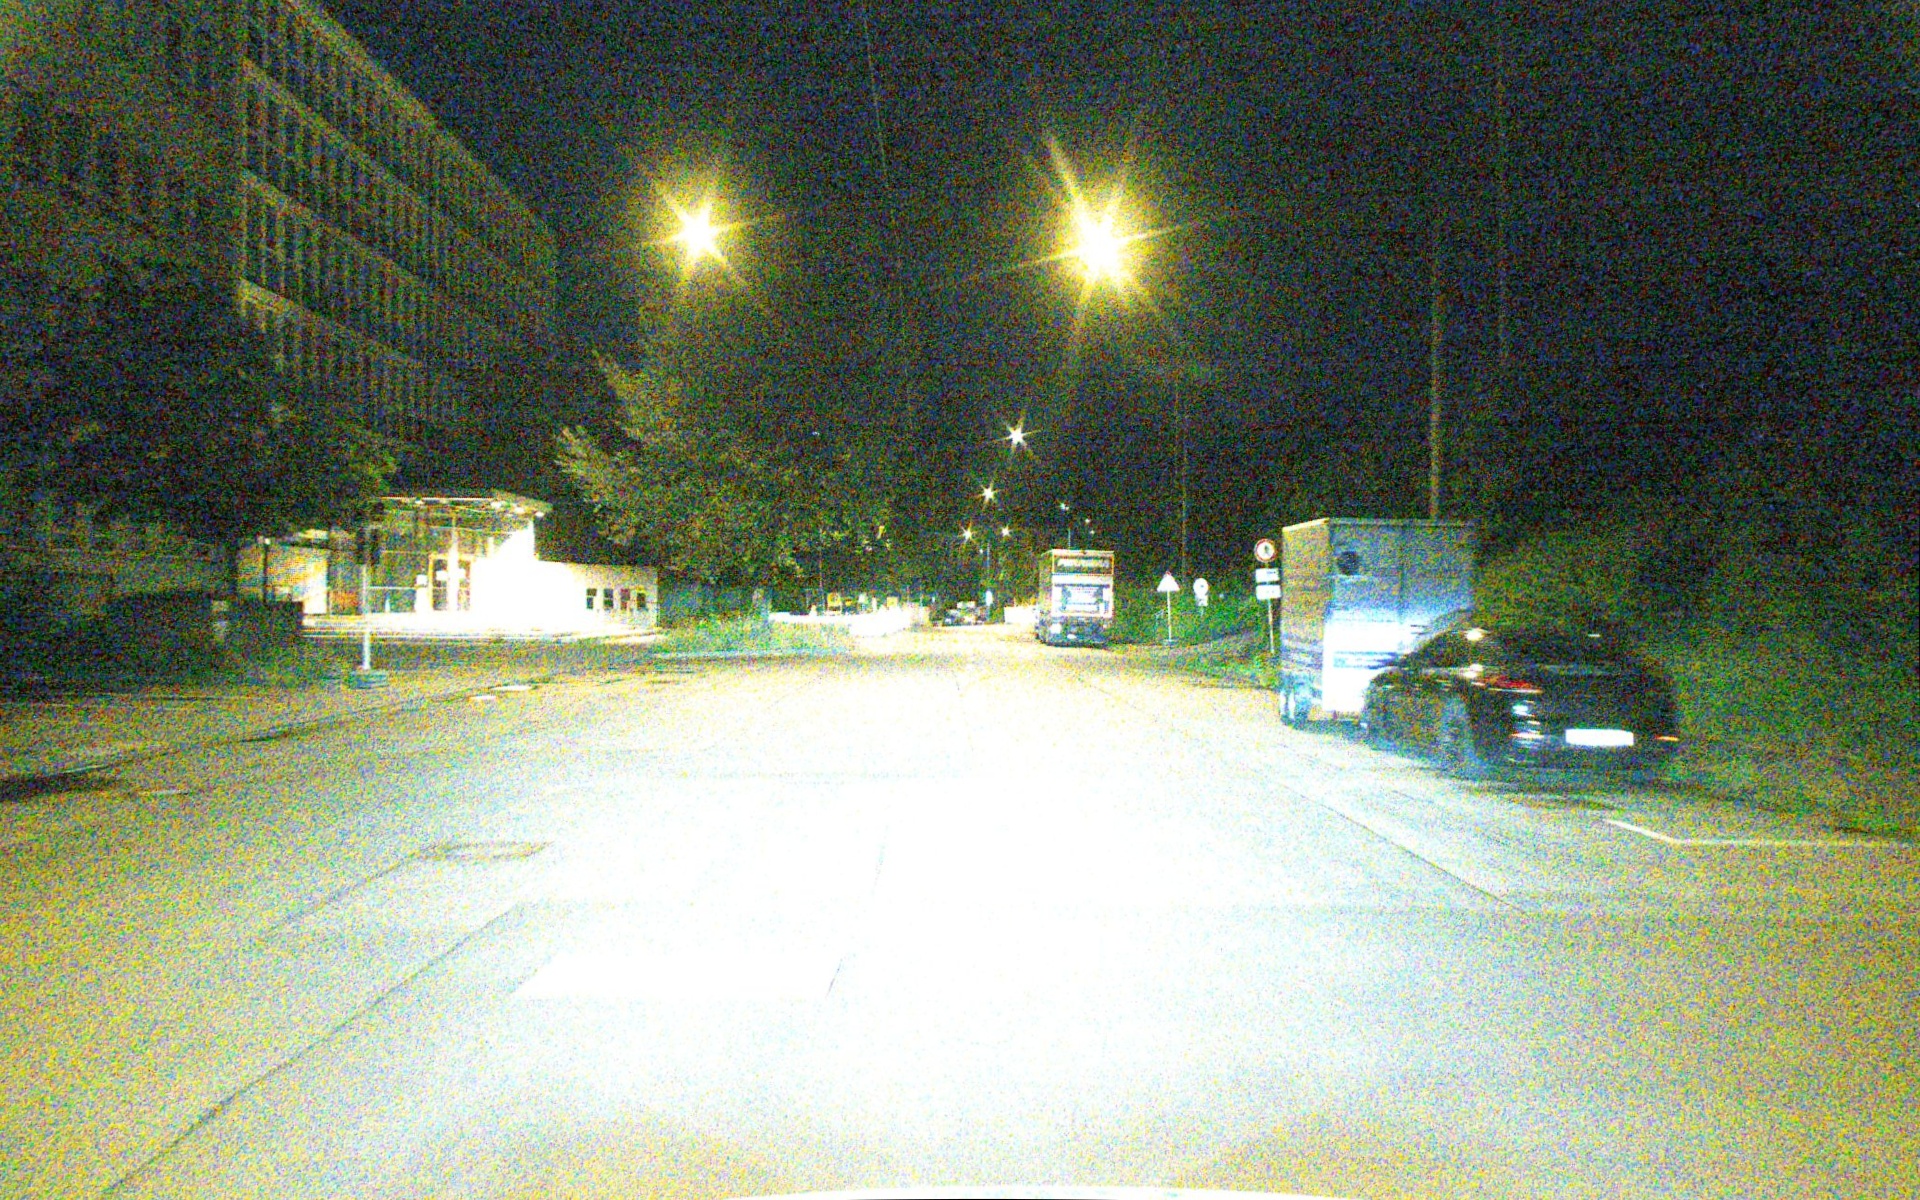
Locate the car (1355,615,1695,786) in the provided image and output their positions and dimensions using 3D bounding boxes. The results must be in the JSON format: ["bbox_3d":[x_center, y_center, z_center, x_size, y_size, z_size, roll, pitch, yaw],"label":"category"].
[{"bbox_3d":[5.492,0.900,16.764,1.692,1.411,4.674,1,0,-2],"label":"car"}]

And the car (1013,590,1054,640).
[{"bbox_3d":[3.911,0.745,88.396,2.065,2.560,6.373,1,0,2],"label":"car"}]

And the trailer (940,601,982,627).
[{"bbox_3d":[0.041,1.256,148.314,1.541,2.198,5.173,-1,-1,-28],"label":"trailer"}]

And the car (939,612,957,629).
[{"bbox_3d":[-1.160,2.028,163.236,1.685,1.690,3.999,1,-1,0],"label":"car"}]

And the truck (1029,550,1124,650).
[{"bbox_3d":[4.867,0.024,70.873,3.256,3.936,9.326,1,0,-1],"label":"truck"}]

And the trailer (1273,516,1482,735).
[{"bbox_3d":[5.567,0.308,22.561,1.952,2.697,4.001,1,0,2],"label":"trailer"}]

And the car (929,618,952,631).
[{"bbox_3d":[-2.544,3.190,215.835,1.951,1.729,4.209,0,-1,14],"label":"car"}]

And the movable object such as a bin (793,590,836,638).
[{"bbox_3d":[-7.744,0.751,87.750,1.526,2.510,2.821,-1,-1,-21],"label":"movable object such as a bin"}]

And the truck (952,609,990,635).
[{"bbox_3d":[1.536,3.045,229.120,1.953,3.463,8.976,1,0,23],"label":"truck"}]

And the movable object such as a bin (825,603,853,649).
[{"bbox_3d":[-7.870,1.671,107.432,1.541,2.781,3.695,-3,1,-7],"label":"movable object such as a bin"}]

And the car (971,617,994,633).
[{"bbox_3d":[2.632,2.914,191.789,1.684,1.853,4.002,0,-1,14],"label":"car"}]

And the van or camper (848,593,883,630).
[{"bbox_3d":[-8.267,1.019,145.176,2.467,3.148,7.445,-2,-1,1],"label":"van or camper"}]

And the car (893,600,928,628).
[{"bbox_3d":[-5.946,1.641,199.690,2.465,3.227,7.143,-2,-1,13],"label":"car"}]
